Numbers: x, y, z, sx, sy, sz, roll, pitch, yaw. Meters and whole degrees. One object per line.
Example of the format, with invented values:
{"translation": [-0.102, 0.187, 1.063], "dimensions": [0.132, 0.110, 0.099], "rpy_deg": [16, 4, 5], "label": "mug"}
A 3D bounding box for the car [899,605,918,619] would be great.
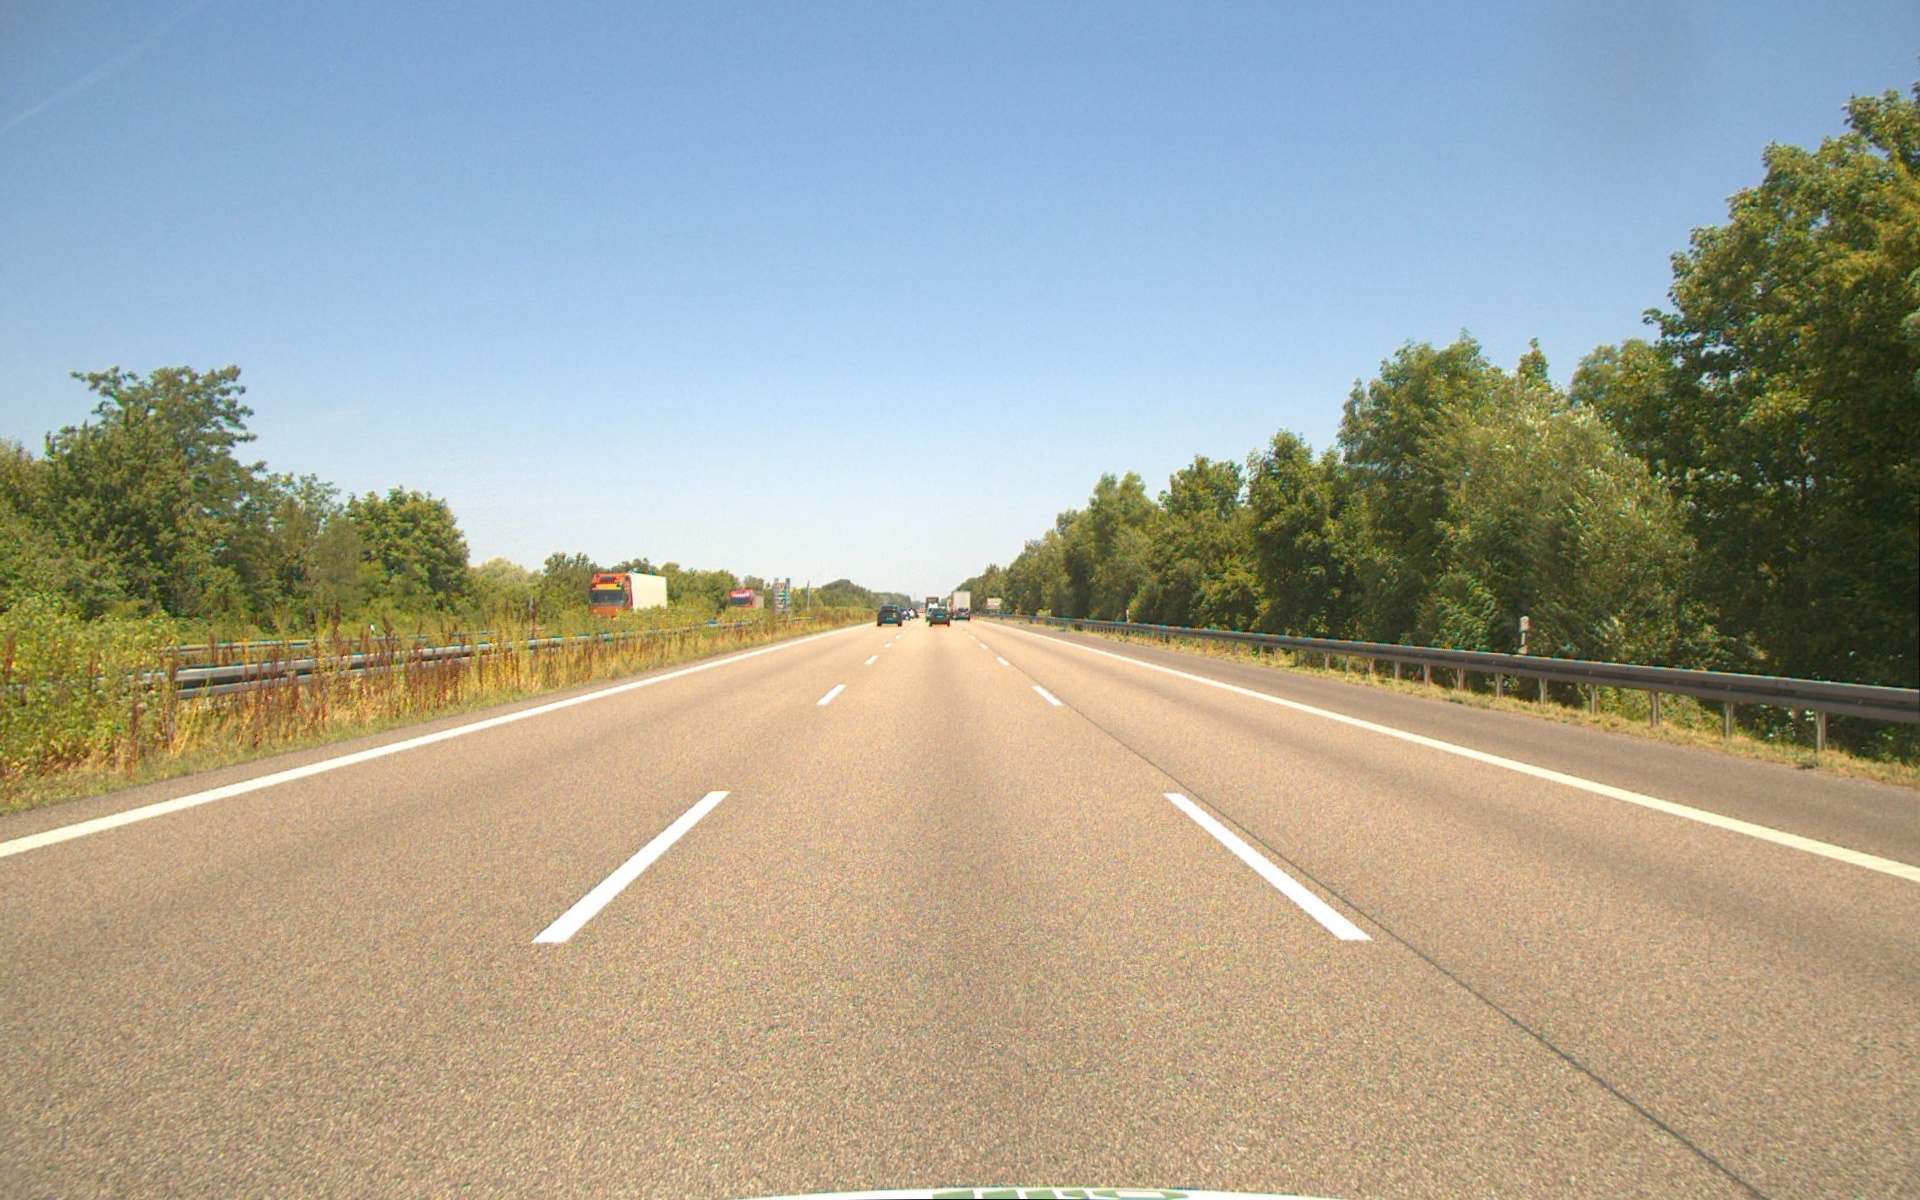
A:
{"translation": [-6.170, 1.416, 197.417], "dimensions": [2.085, 1.674, 4.303], "rpy_deg": [-1, 0, -1], "label": "car"}

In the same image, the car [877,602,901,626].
{"translation": [-5.598, 1.084, 130.886], "dimensions": [1.842, 1.823, 3.999], "rpy_deg": [0, 1, -2], "label": "car"}

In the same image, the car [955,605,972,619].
{"translation": [0.441, 1.479, 206.603], "dimensions": [2.085, 1.611, 4.303], "rpy_deg": [-1, 0, -1], "label": "car"}

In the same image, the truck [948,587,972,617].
{"translation": [-0.066, 0.306, 238.033], "dimensions": [3.316, 4.040, 9.536], "rpy_deg": [-1, 0, 0], "label": "truck"}

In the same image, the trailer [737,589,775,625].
{"translation": [-23.242, 0.838, 188.659], "dimensions": [3.016, 3.937, 10.905], "rpy_deg": [-1, 0, 0], "label": "trailer"}

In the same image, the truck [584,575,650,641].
{"translation": [-22.297, 0.507, 107.917], "dimensions": [2.677, 4.004, 7.414], "rpy_deg": [-3, 0, -1], "label": "truck"}

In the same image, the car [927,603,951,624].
{"translation": [-1.681, 1.030, 132.059], "dimensions": [1.864, 1.611, 4.303], "rpy_deg": [-1, 0, 0], "label": "car"}

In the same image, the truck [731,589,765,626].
{"translation": [-23.222, 0.823, 181.164], "dimensions": [3.016, 3.937, 5.590], "rpy_deg": [-1, 0, -1], "label": "truck"}
